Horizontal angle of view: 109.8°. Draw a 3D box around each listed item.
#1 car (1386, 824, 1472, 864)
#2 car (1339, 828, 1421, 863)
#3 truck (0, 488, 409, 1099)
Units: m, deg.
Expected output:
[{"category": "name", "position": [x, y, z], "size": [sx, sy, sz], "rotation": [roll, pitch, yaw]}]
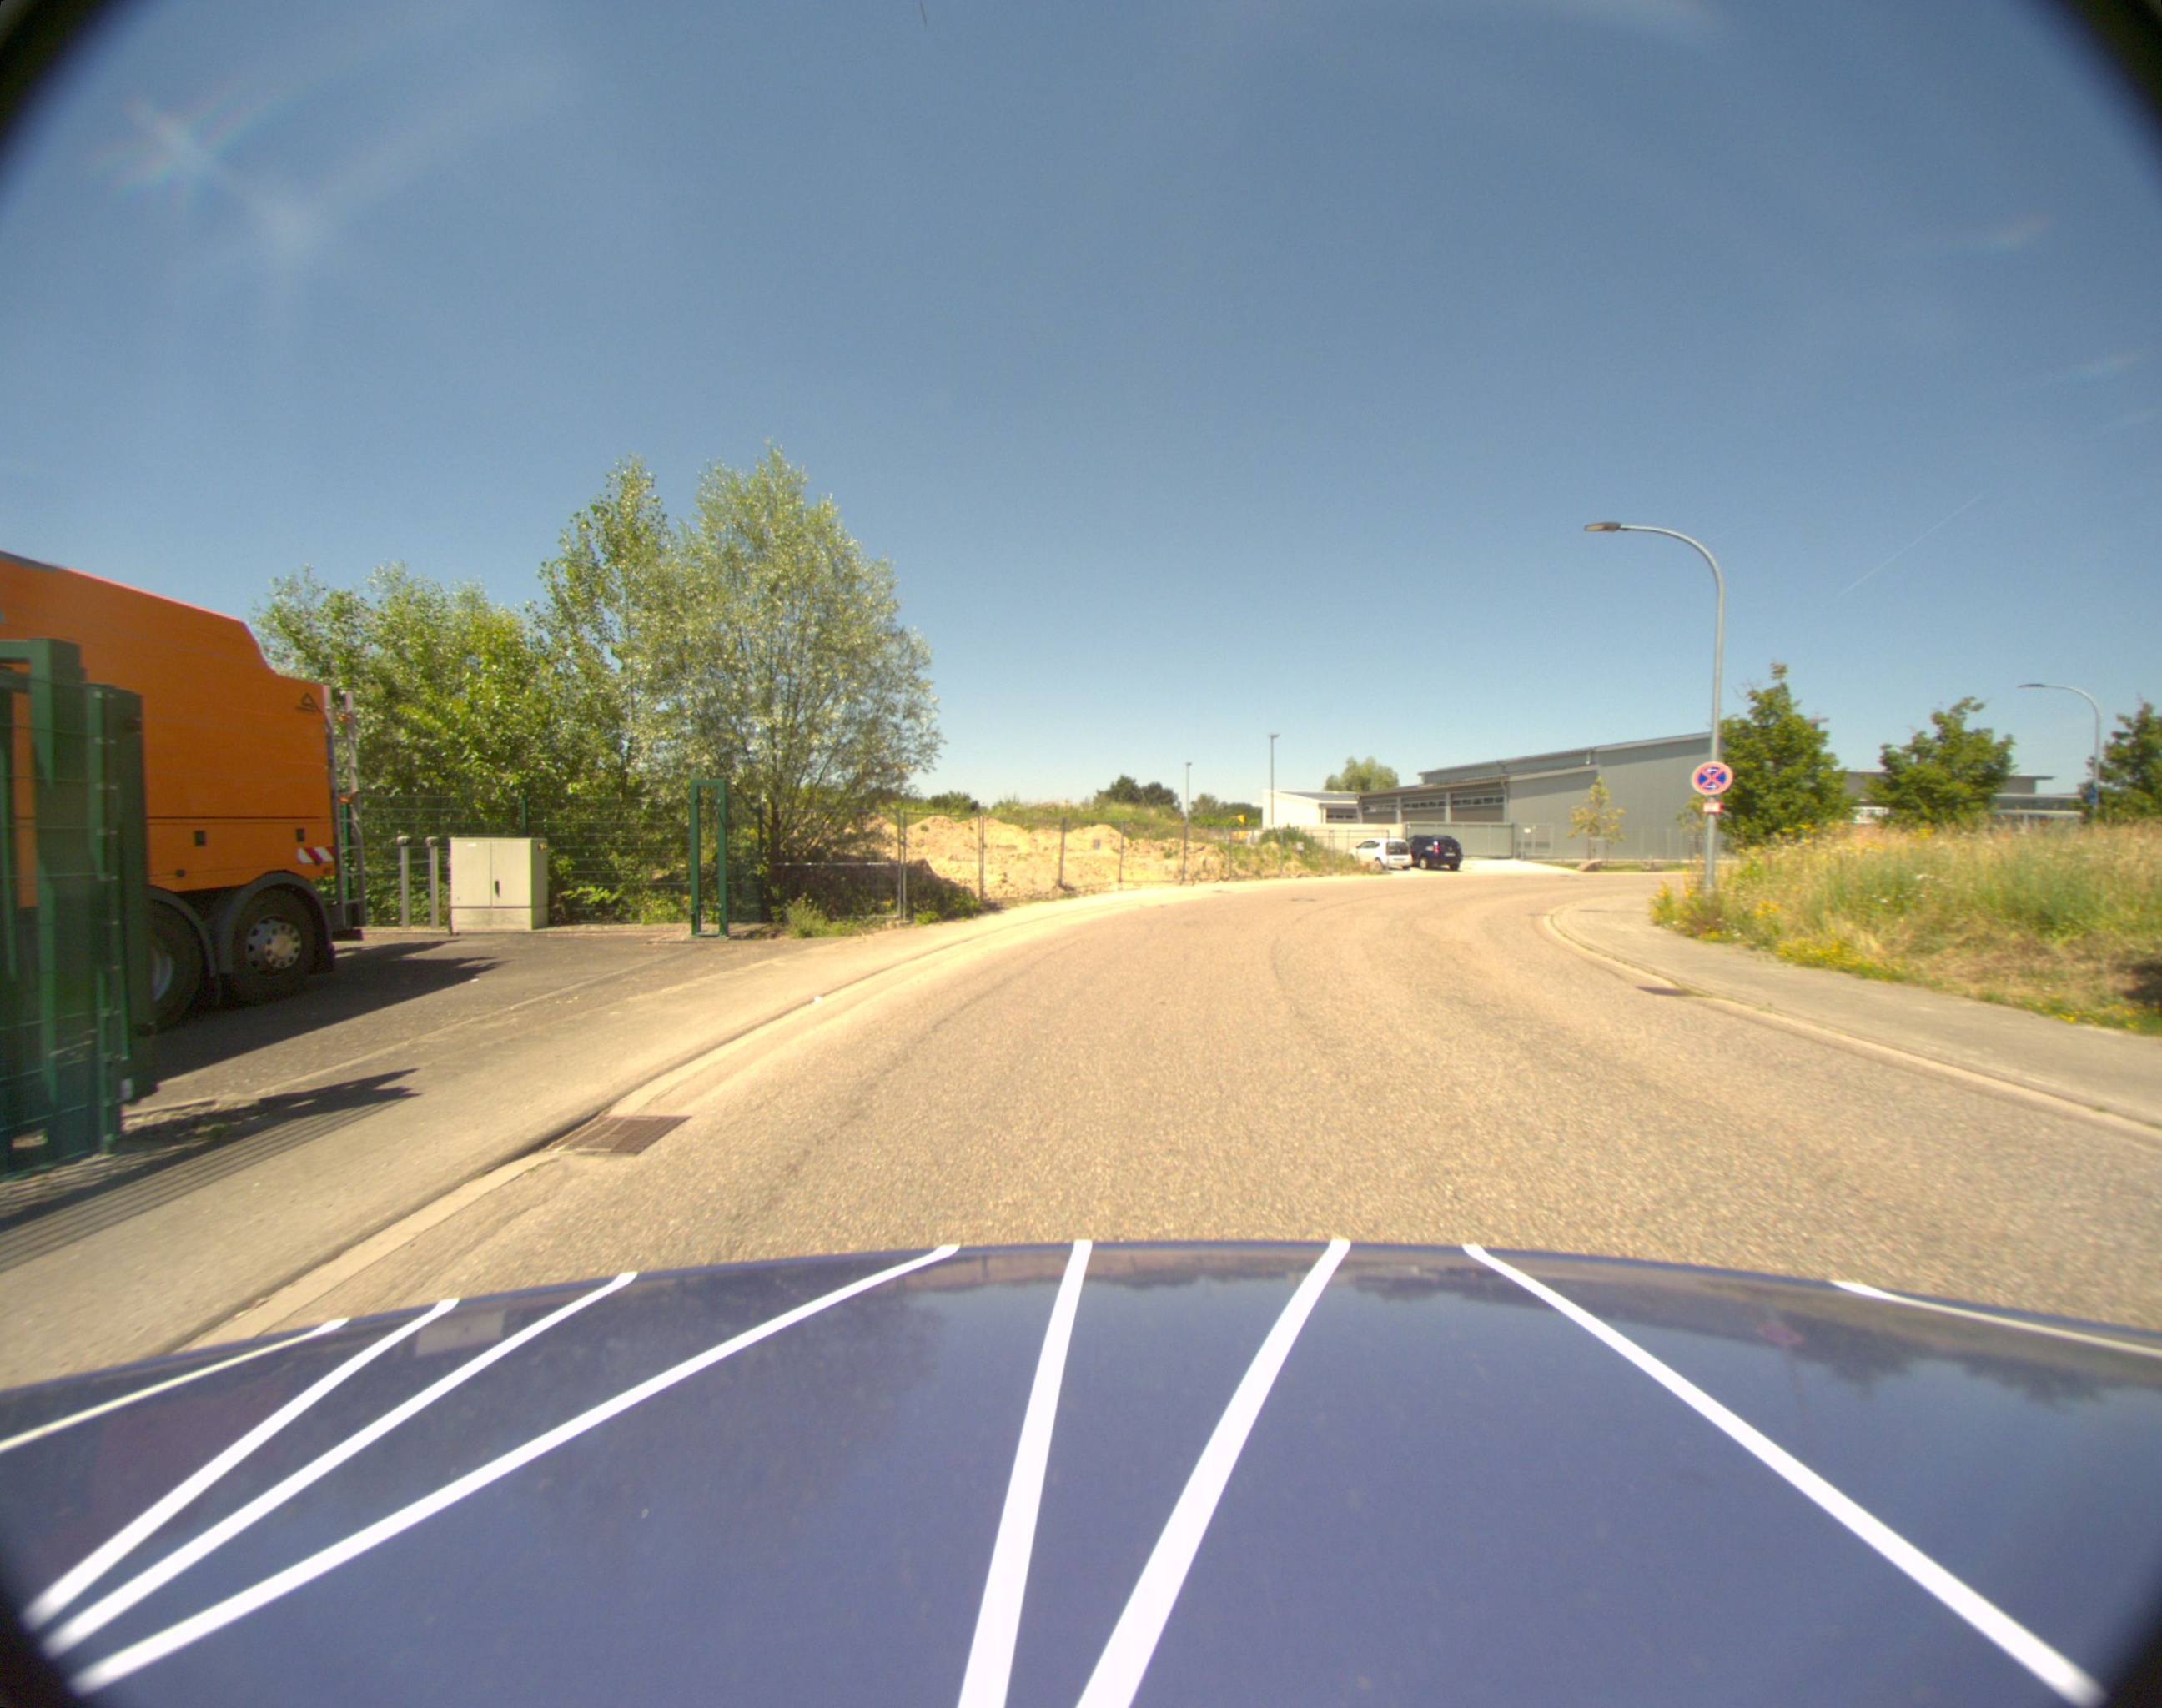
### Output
[{"category": "car", "position": [17.192, -0.552, 37.767], "size": [1.858, 1.647, 4.015], "rotation": [0, 6, -9]}, {"category": "car", "position": [14.704, -0.466, 37.634], "size": [1.893, 1.454, 4.016], "rotation": [0, 4, -10]}, {"category": "truck", "position": [-8.644, -0.363, 3.865], "size": [4.166, 3.785, 8.598], "rotation": [0, 2, -13]}]
